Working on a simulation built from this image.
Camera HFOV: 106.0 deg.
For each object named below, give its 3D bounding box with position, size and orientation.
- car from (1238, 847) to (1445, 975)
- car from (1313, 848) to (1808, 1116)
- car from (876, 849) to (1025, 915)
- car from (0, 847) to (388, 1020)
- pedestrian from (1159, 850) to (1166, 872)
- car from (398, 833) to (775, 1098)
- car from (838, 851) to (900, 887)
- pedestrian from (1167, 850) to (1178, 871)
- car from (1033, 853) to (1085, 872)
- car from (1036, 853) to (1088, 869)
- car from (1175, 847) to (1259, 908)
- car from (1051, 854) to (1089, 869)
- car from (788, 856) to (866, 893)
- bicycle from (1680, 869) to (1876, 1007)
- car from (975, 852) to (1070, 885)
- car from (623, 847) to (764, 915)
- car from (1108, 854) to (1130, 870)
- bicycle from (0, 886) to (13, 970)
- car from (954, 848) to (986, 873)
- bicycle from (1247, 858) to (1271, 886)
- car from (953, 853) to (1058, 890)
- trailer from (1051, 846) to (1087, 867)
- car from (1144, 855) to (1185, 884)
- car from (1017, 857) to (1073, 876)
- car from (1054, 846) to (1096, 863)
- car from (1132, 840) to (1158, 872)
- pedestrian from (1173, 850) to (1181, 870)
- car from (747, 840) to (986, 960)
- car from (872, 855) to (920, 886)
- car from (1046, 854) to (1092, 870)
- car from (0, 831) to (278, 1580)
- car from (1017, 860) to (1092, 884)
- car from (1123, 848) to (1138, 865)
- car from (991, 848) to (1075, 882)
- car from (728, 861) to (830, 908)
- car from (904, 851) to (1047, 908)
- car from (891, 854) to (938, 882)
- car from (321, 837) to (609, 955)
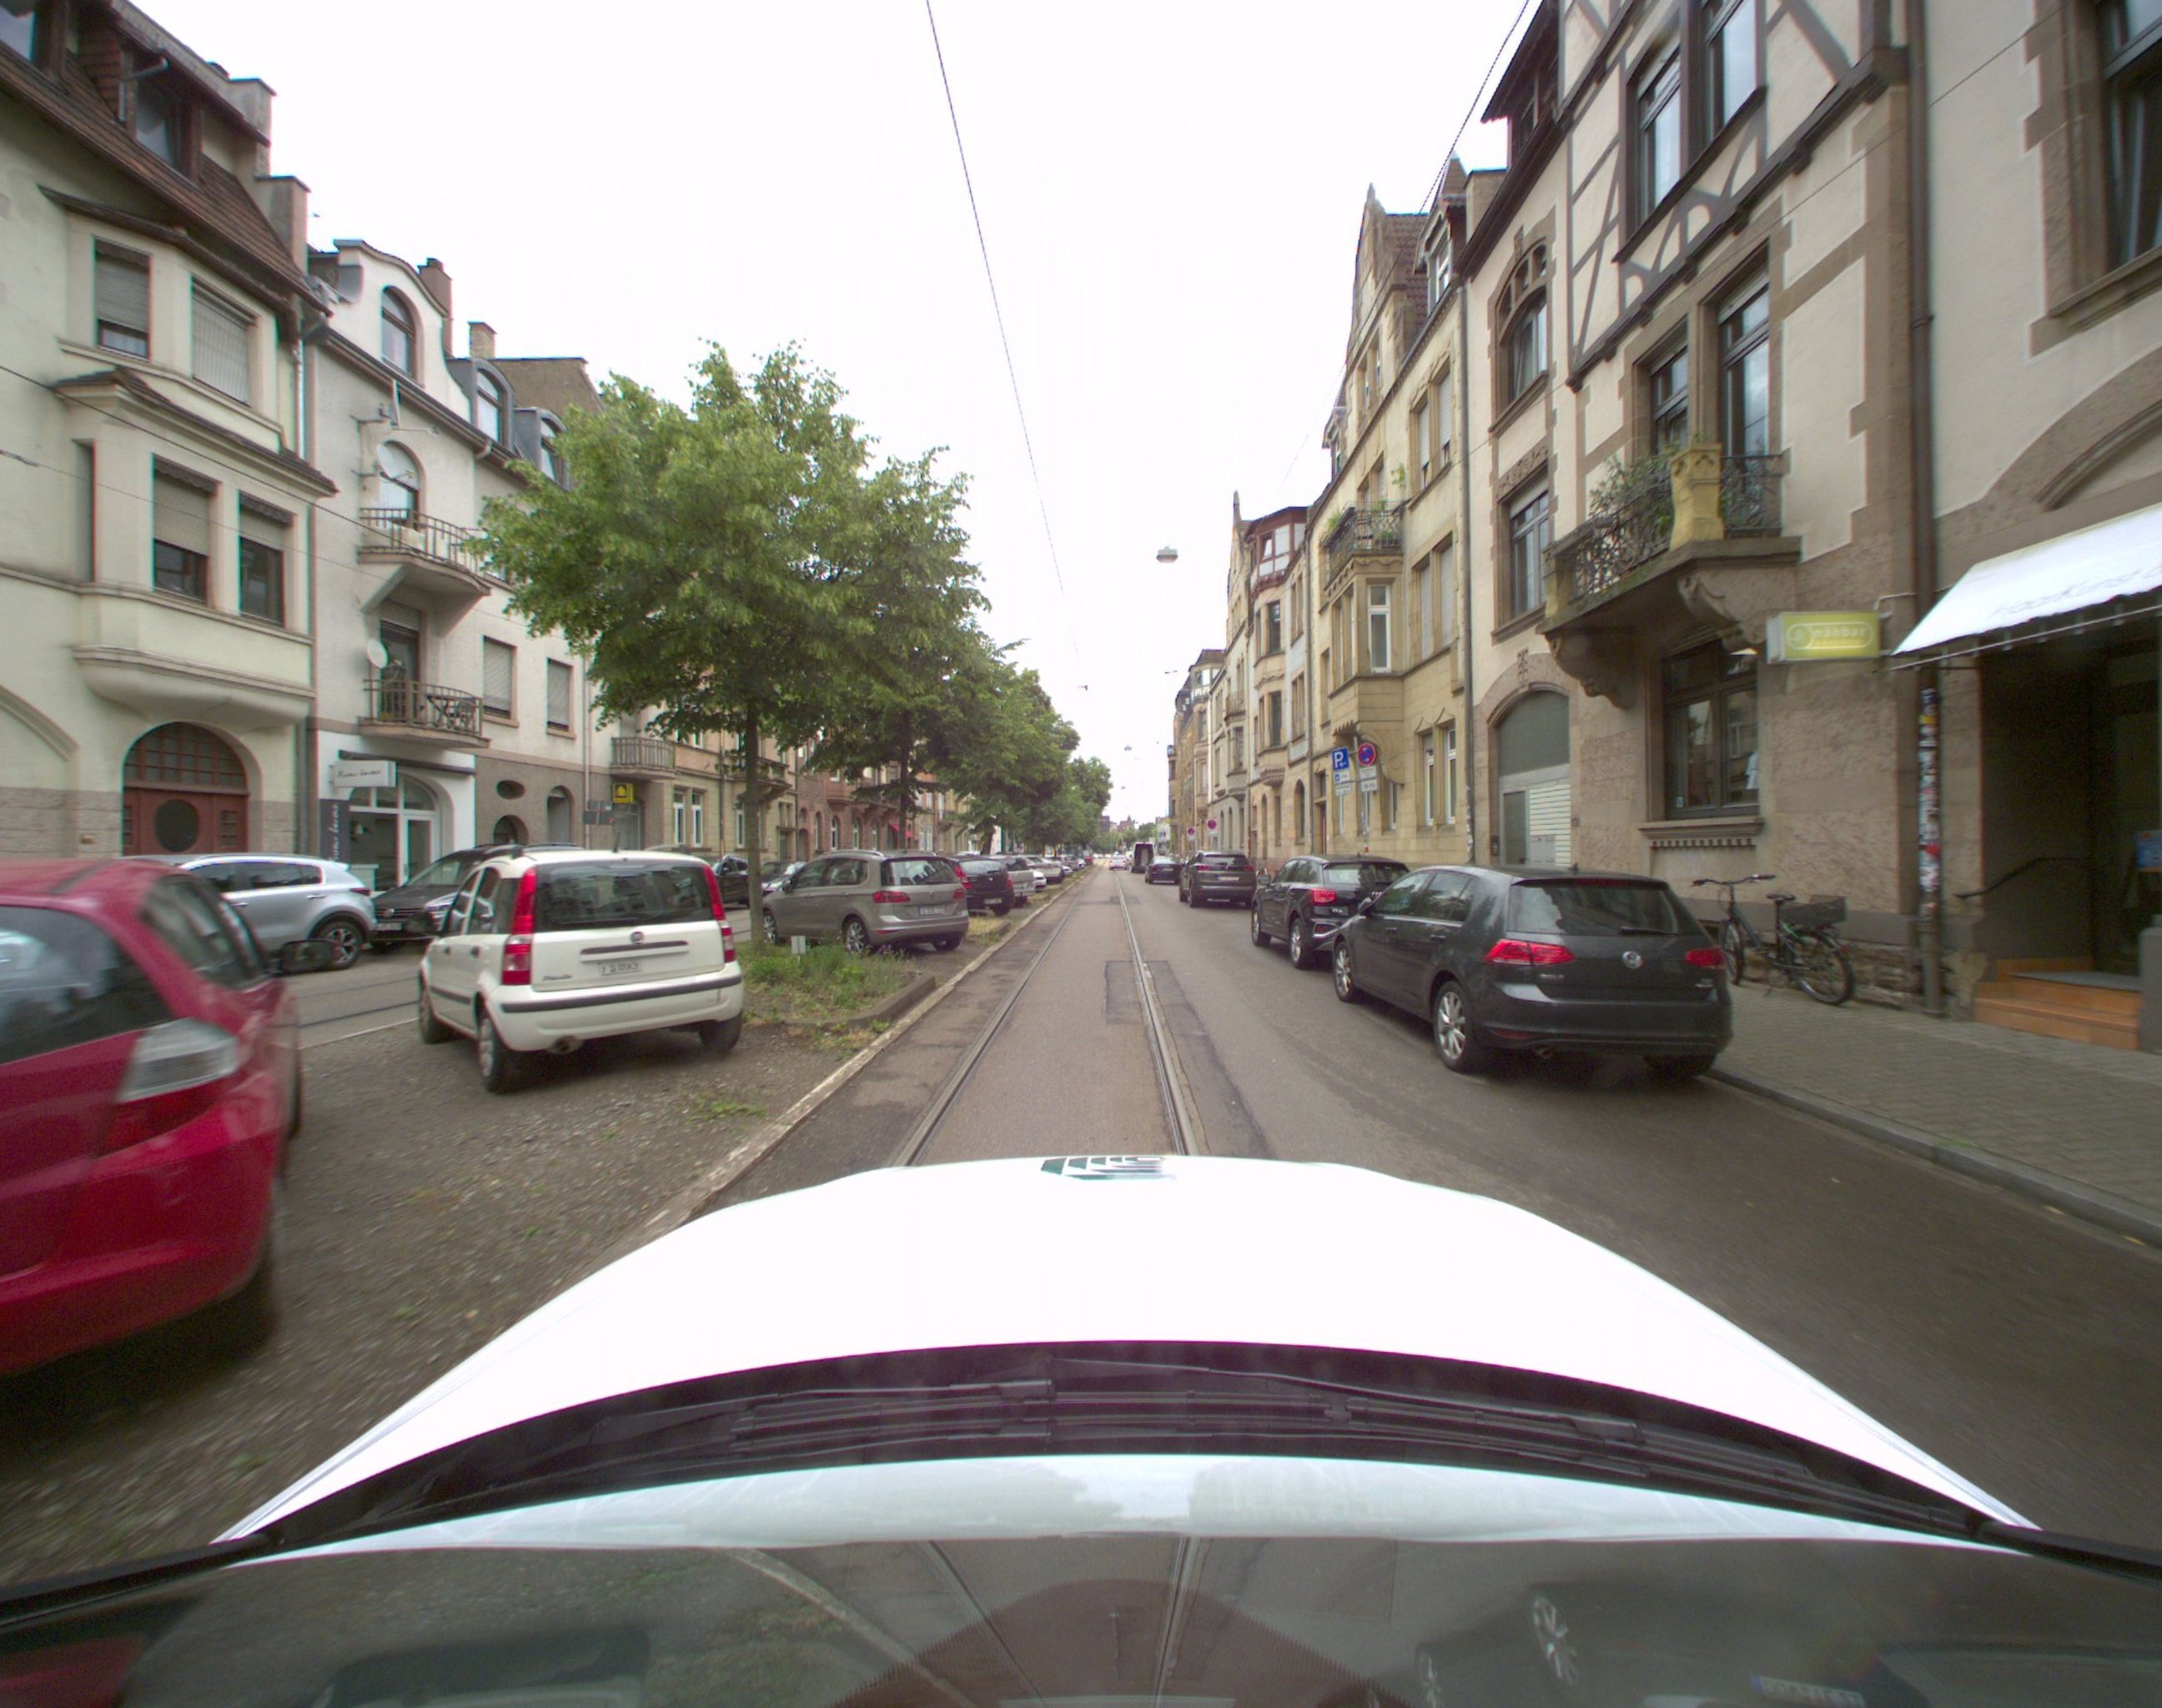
[{"bbox_3d":[3.654,0.700,12.302,1.692,1.513,4.419,2,0,0],"label":"car"},{"bbox_3d":[3.455,0.751,6.998,1.692,1.513,4.392,2,0,1],"label":"car"},{"bbox_3d":[-3.348,0.628,20.371,1.786,1.485,3.951,0,0,-43],"label":"car"},{"bbox_3d":[-11.306,0.775,9.935,1.845,1.659,4.492,-1,0,0],"label":"car"},{"bbox_3d":[6.927,0.571,69.241,0.497,1.815,0.804,-3,0,3],"label":"pedestrian"},{"bbox_3d":[-4.048,0.683,6.473,3.384,1.527,1.700,-2,-2,43],"label":"car"},{"bbox_3d":[-10.118,0.712,39.223,1.762,1.628,4.321,0,-1,1],"label":"car"},{"bbox_3d":[7.677,0.572,68.479,0.706,1.700,0.489,-3,0,-26],"label":"pedestrian"},{"bbox_3d":[-1.813,0.662,65.837,4.066,1.484,1.808,0,0,43],"label":"car"},{"bbox_3d":[-1.747,0.620,73.581,4.628,1.435,1.910,-1,0,41],"label":"car"},{"bbox_3d":[3.908,0.623,24.160,1.753,1.622,4.694,0,0,0],"label":"car"},{"bbox_3d":[-1.163,0.763,83.952,3.815,1.463,1.700,-1,0,44],"label":"car"},{"bbox_3d":[-10.381,0.814,33.583,1.798,1.438,4.231,0,0,1],"label":"car"},{"bbox_3d":[6.444,0.724,7.642,0.419,1.098,1.589,-5,0,2],"label":"bicycle"},{"bbox_3d":[-2.805,0.662,38.226,2.047,1.490,4.486,0,-1,-44],"label":"car"},{"bbox_3d":[-10.607,0.697,22.681,1.798,1.680,4.274,0,-1,1],"label":"car"},{"bbox_3d":[3.787,0.764,80.571,1.773,1.472,4.018,0,0,7],"label":"car"},{"bbox_3d":[-14.491,0.966,9.837,0.651,1.088,1.870,0,0,4],"label":"bicycle"},{"bbox_3d":[-9.117,0.553,67.281,1.874,1.952,5.095,0,-1,1],"label":"car"},{"bbox_3d":[7.574,0.750,34.731,0.609,1.126,1.917,2,0,1],"label":"bicycle"},{"bbox_3d":[-2.922,0.619,30.921,1.874,1.312,4.079,0,0,-44],"label":"car"},{"bbox_3d":[-1.371,0.307,91.744,3.624,2.344,1.943,-1,0,35],"label":"trailer"},{"bbox_3d":[4.348,0.771,43.255,1.794,1.438,5.197,0,0,2],"label":"car"},{"bbox_3d":[-2.473,0.819,55.325,1.678,1.202,3.914,0,0,-45],"label":"car"},{"bbox_3d":[-0.762,0.058,94.595,4.707,1.974,1.972,-1,0,40],"label":"car"},{"bbox_3d":[5.481,0.173,70.465,2.005,2.549,7.022,1,0,3],"label":"car"},{"bbox_3d":[8.181,0.523,69.316,0.507,1.717,0.579,-3,0,-8],"label":"pedestrian"},{"bbox_3d":[-3.527,0.666,12.951,4.154,1.609,1.735,-2,-2,43],"label":"car"},{"bbox_3d":[-9.965,0.868,44.179,1.656,1.560,3.723,0,-1,1],"label":"car"},{"bbox_3d":[-1.176,0.752,77.157,4.286,1.435,1.910,-1,0,44],"label":"car"},{"bbox_3d":[-3.904,0.693,2.682,1.684,1.527,3.767,1,0,-43],"label":"car"},{"bbox_3d":[-1.637,1.029,48.450,4.610,1.368,1.768,0,0,45],"label":"car"},{"bbox_3d":[6.024,0.291,98.983,1.775,1.962,4.386,0,0,4],"label":"car"},{"bbox_3d":[-2.488,0.566,41.387,1.775,1.633,4.477,0,-1,-44],"label":"car"},{"bbox_3d":[-10.311,1.000,28.186,1.798,1.490,4.388,0,0,1],"label":"car"},{"bbox_3d":[-3.162,0.671,23.656,1.874,1.493,4.510,1,-1,-42],"label":"car"},{"bbox_3d":[-9.951,0.814,49.008,1.734,1.626,4.555,0,-1,1],"label":"car"},{"bbox_3d":[-11.129,0.668,15.221,1.843,1.870,4.434,-1,0,2],"label":"car"}]
